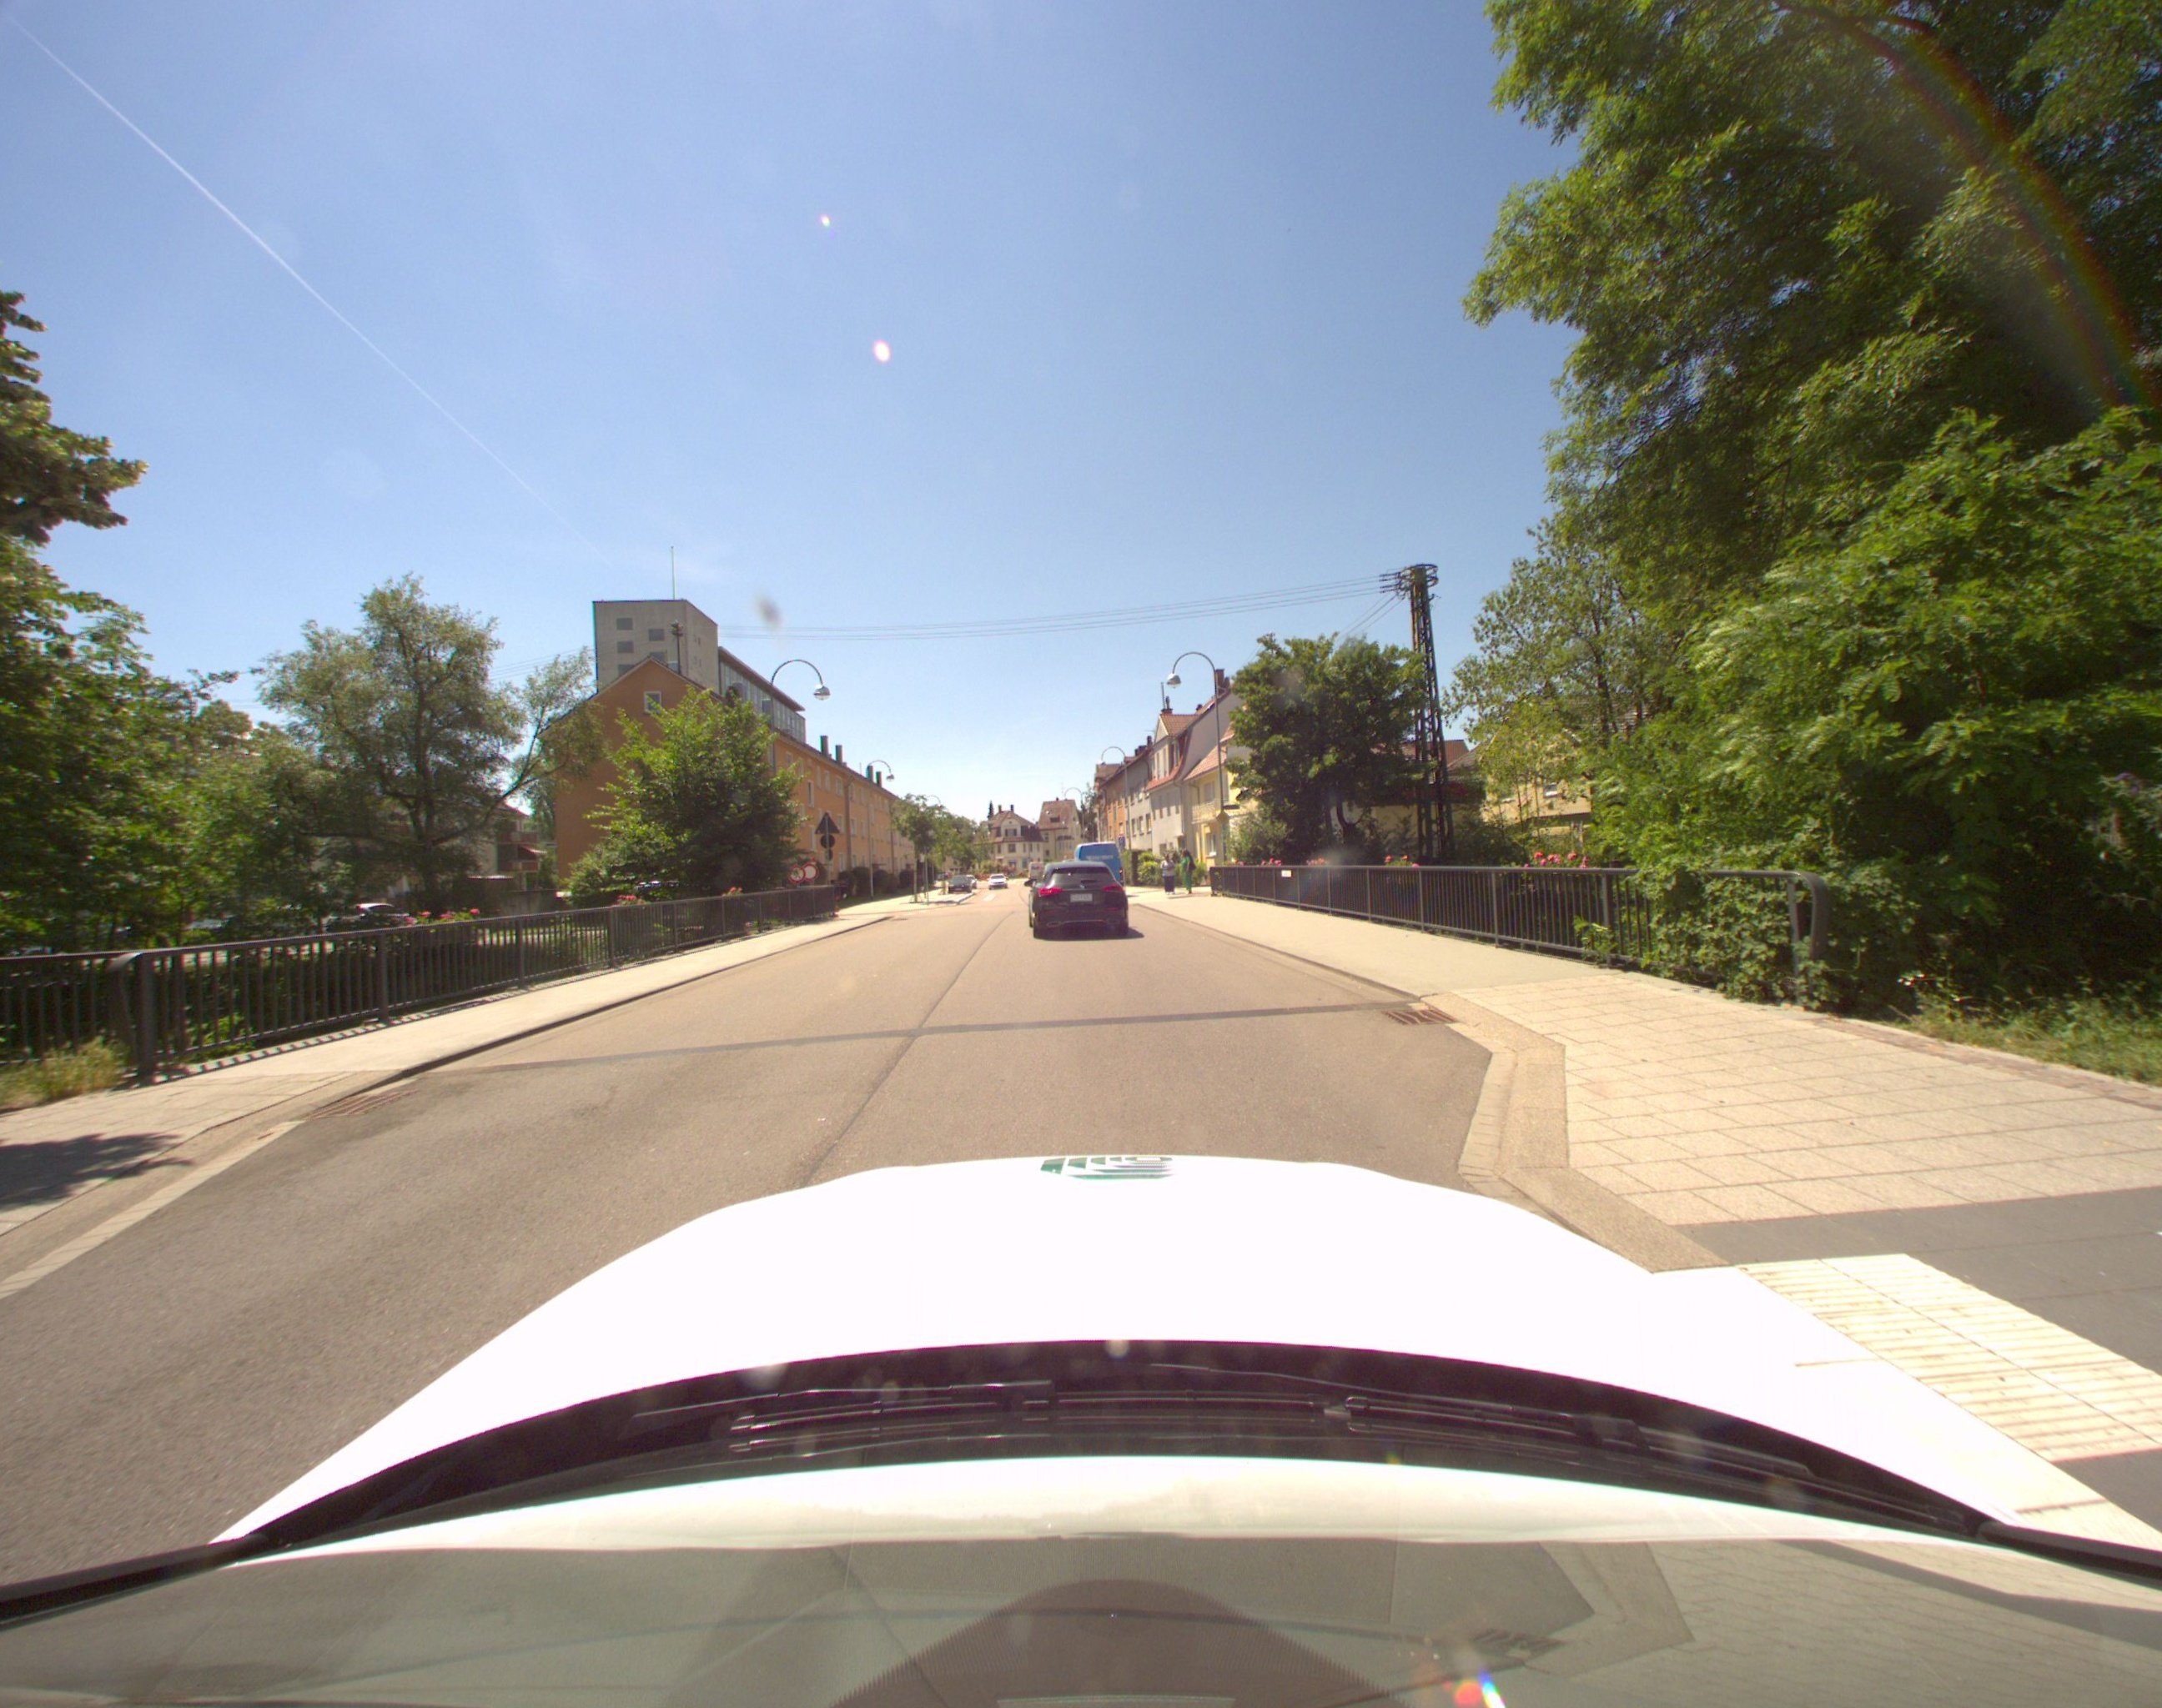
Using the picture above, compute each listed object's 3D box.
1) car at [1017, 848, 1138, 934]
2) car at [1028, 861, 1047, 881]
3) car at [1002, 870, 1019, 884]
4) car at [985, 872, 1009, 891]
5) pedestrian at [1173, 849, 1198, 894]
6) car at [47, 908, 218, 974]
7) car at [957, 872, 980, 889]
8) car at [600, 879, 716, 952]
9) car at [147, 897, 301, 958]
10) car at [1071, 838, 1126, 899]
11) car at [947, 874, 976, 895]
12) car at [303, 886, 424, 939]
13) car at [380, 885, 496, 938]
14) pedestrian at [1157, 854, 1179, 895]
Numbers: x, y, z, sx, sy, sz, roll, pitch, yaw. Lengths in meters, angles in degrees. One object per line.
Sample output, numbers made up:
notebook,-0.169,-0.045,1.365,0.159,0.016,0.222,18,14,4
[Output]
car,-0.209,0.782,16.591,1.827,1.442,3.987,-3,-3,-9
car,-5.425,2.112,101.846,2.240,2.343,4.846,-1,0,-3
car,-9.040,2.928,104.609,1.989,1.660,3.995,-1,-1,-3
car,-8.028,2.590,78.107,1.989,1.660,3.995,-1,-1,-3
pedestrian,4.166,0.701,32.365,0.663,1.741,0.697,-2,-1,-21
car,-36.342,3.268,31.399,1.990,2.013,3.993,-3,0,-5
car,-11.515,2.710,83.824,1.989,1.660,3.995,-1,-1,-3
car,-14.005,1.972,27.256,1.991,2.013,3.993,-3,0,-5
car,-33.679,2.818,32.191,1.991,2.013,3.992,-3,-1,-5
car,0.719,0.645,37.139,2.128,2.541,4.644,-3,-1,-3
car,-9.852,2.482,67.162,1.989,1.660,3.995,-1,-1,-3
car,-31.882,2.537,36.356,1.991,2.013,3.992,-3,-1,-5
car,-28.605,2.505,36.417,1.988,2.013,3.997,-2,0,-2
pedestrian,3.559,0.838,33.293,0.613,1.612,0.835,-3,-1,-8
